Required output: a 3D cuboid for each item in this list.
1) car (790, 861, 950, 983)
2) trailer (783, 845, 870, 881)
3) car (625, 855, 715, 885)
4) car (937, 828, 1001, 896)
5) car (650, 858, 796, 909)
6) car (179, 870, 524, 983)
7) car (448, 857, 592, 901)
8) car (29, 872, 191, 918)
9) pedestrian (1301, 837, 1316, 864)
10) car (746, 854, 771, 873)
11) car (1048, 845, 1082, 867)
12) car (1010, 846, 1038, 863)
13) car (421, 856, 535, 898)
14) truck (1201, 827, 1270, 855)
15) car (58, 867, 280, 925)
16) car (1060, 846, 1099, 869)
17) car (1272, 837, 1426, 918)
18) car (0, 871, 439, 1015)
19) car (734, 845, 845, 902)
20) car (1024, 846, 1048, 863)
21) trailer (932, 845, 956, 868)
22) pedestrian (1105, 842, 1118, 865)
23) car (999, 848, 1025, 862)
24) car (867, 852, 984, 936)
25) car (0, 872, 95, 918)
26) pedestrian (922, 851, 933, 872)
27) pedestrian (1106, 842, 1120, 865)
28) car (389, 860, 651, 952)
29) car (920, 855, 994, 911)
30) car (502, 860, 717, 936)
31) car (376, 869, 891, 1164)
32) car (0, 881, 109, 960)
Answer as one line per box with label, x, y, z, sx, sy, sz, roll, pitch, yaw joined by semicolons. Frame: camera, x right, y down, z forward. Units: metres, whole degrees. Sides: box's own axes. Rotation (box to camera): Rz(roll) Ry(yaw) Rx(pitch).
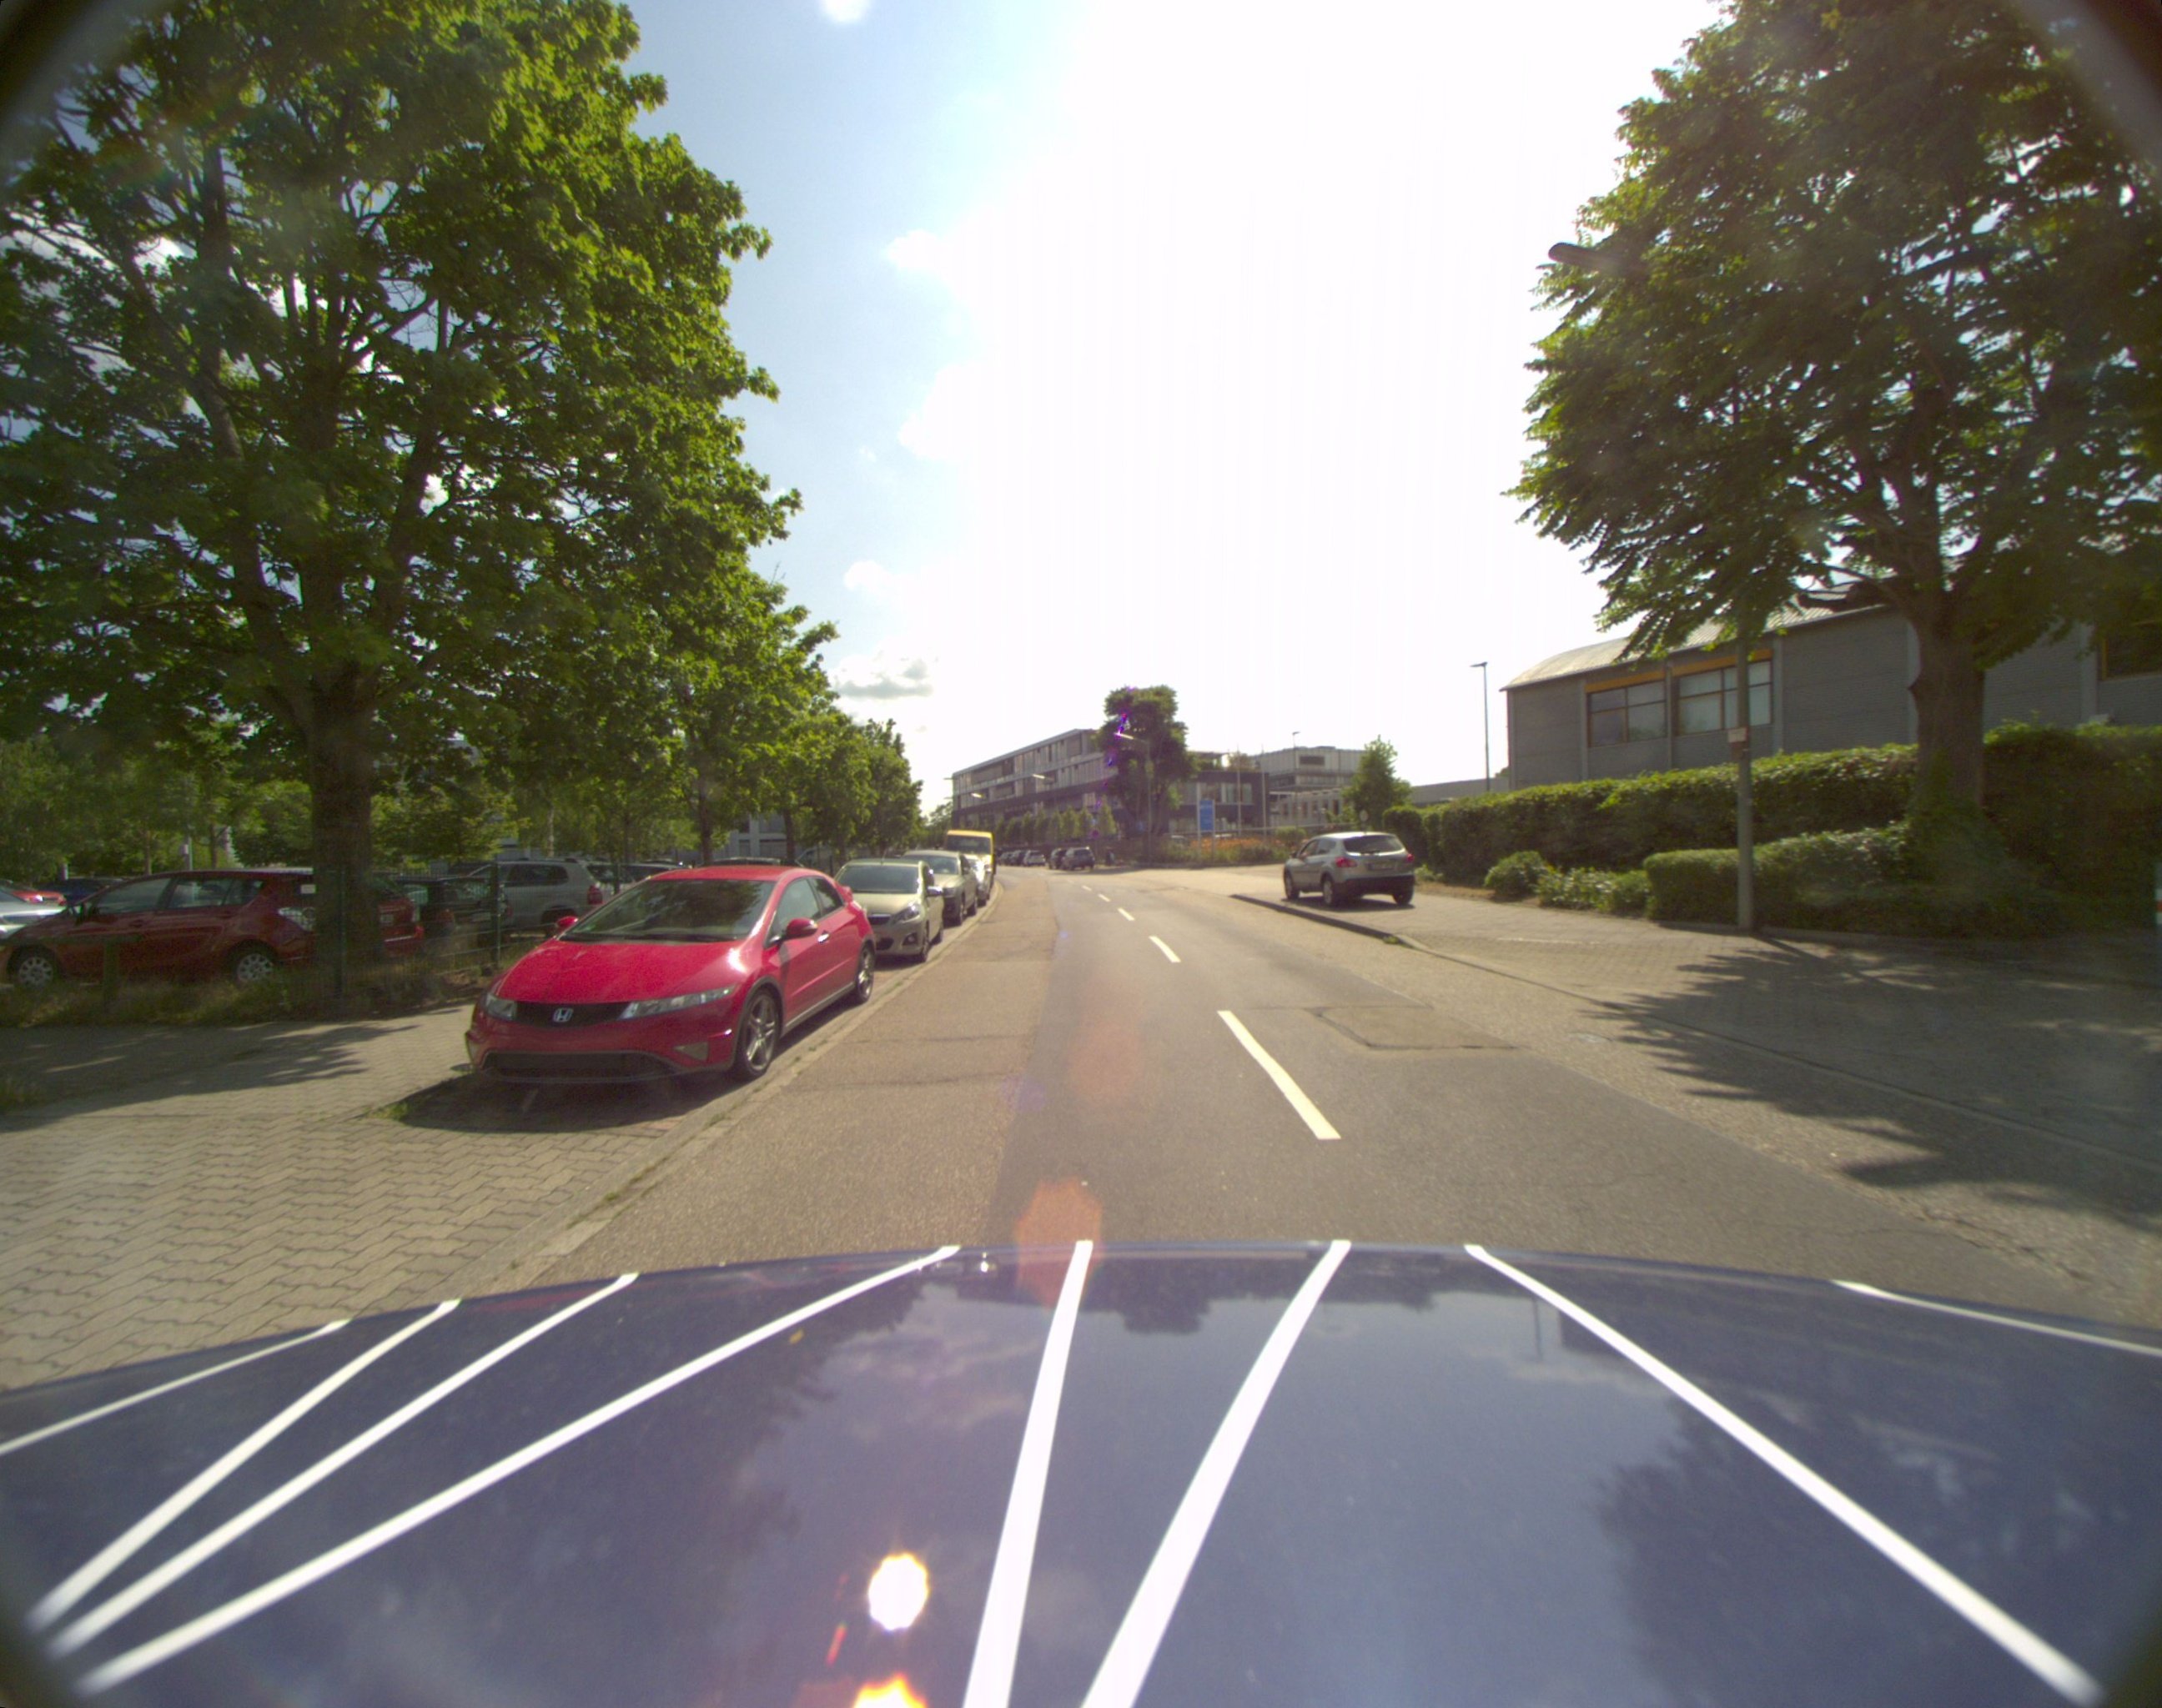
car;-3.060;0.911;11.782;1.705;1.478;3.805;2;1;-5
trailer;-16.182;0.573;48.583;5.065;2.070;2.059;-2;1;-13
car;-27.241;1.041;50.536;4.868;1.757;1.912;-2;1;-13
car;-4.413;0.245;30.909;2.163;2.451;6.635;-1;1;-5
car;-12.479;0.998;26.764;4.332;1.612;1.761;-1;1;-11
car;-12.014;1.147;12.734;3.884;1.584;1.909;-1;1;1
car;-23.605;1.019;32.134;4.494;1.631;1.837;-2;1;-9
car;-41.539;1.723;32.612;4.000;1.548;1.889;-4;1;-9
pedestrian;14.301;-0.218;47.815;0.550;1.683;0.732;-3;5;-26
car;-30.215;0.893;71.129;1.829;1.638;3.329;-4;1;-27
car;-1.376;0.157;63.621;1.782;1.673;4.224;-4;1;-15
car;-5.915;0.040;78.125;1.740;1.646;4.303;-3;1;-20
car;-31.268;1.163;39.551;4.095;1.924;1.996;-2;1;-11
truck;16.079;-1.340;79.134;6.943;2.642;2.400;-2;1;-25
car;-29.453;1.306;24.698;4.281;1.548;1.998;-2;2;-9
car;-0.186;0.244;58.295;1.805;1.641;4.683;-3;1;-14
car;5.988;0.435;17.585;1.762;1.565;4.475;-3;1;-3
car;-11.484;1.107;10.104;4.219;1.584;1.909;-1;1;1
car;-13.482;0.900;35.386;4.343;1.661;1.855;13;-2;-11
car;-4.378;0.073;73.672;1.615;1.514;3.069;-3;1;-18
trailer;-12.853;0.264;71.205;1.752;2.055;3.941;1;0;-18
pedestrian;2.369;-0.046;58.928;0.831;1.751;0.844;-4;2;-8
car;-7.533;0.142;82.944;1.741;1.437;3.923;-4;1;-22
car;-3.416;0.799;17.553;1.837;1.599;4.567;2;1;-1
car;-40.329;1.592;28.378;4.000;1.548;1.889;-4;1;-9
pedestrian;-12.166;0.594;60.271;0.724;1.683;0.738;1;0;-17
pedestrian;2.418;-0.028;57.798;0.845;1.682;0.830;-4;2;-8
car;-11.295;1.010;15.527;3.884;1.628;1.909;-1;1;1
car;-3.721;0.807;23.577;1.881;1.468;5.164;1;1;-5
car;-11.136;0.996;18.150;3.884;1.584;1.909;-1;1;1
car;-3.042;0.953;6.369;1.758;1.478;4.224;2;1;1
car;-21.958;1.325;14.741;4.012;1.388;1.844;-2;1;4
